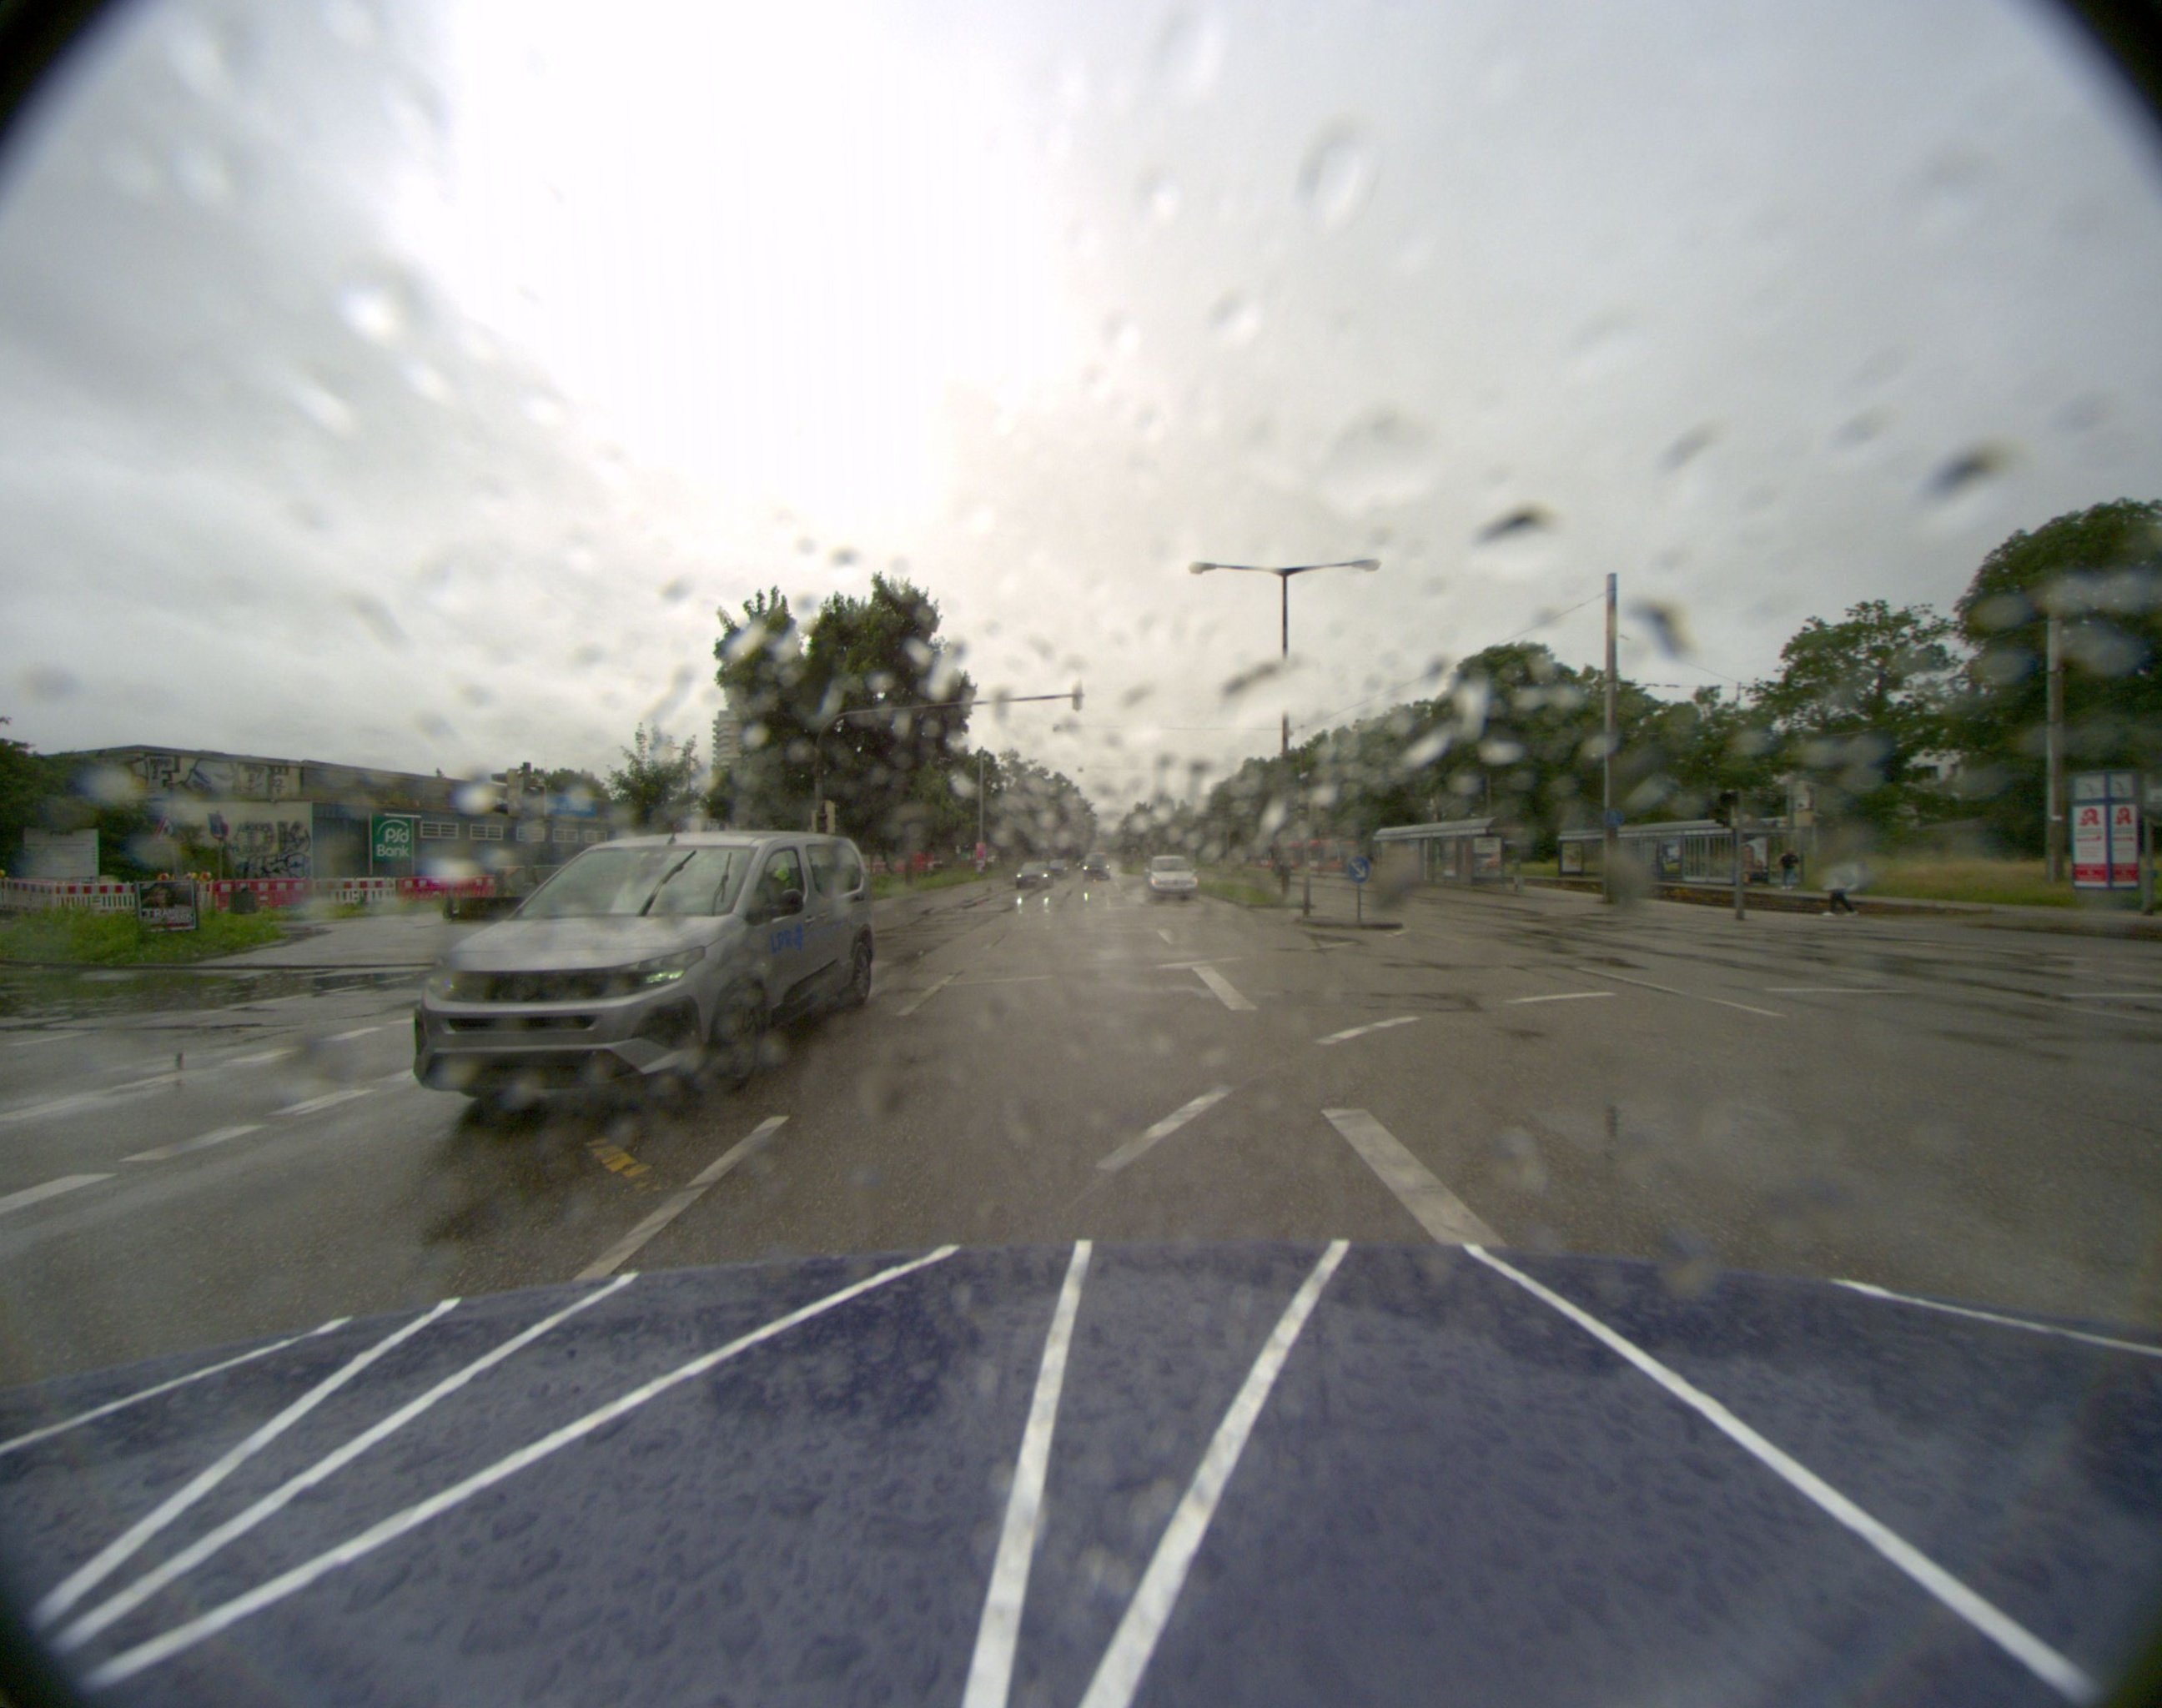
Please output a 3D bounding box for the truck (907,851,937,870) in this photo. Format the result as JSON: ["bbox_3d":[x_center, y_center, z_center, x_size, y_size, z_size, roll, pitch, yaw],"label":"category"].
[{"bbox_3d":[-25.445,0.973,121.937,2.811,2.882,8.749,-2,1,1],"label":"truck"}]

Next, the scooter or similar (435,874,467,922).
[{"bbox_3d":[-15.863,1.099,19.139,0.286,1.169,0.560,0,0,8],"label":"scooter or similar"}]

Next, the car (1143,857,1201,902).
[{"bbox_3d":[3.366,0.922,28.653,1.740,1.535,4.014,-1,-1,1],"label":"car"}]

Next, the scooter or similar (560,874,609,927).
[{"bbox_3d":[-11.928,1.113,18.263,0.959,1.222,0.322,2,1,6],"label":"scooter or similar"}]

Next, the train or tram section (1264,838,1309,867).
[{"bbox_3d":[25.300,-0.207,93.948,3.541,3.392,7.903,0,0,2],"label":"train or tram section"}]

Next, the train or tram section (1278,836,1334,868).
[{"bbox_3d":[25.036,-0.188,85.203,3.541,3.381,10.261,0,0,2],"label":"train or tram section"}]

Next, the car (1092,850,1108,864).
[{"bbox_3d":[2.385,0.395,93.949,1.898,1.602,4.000,-2,1,2],"label":"car"}]

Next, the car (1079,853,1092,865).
[{"bbox_3d":[0.699,0.675,108.392,1.726,1.642,3.999,-2,1,1],"label":"car"}]

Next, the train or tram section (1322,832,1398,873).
[{"bbox_3d":[24.544,-0.128,67.478,3.541,3.370,9.279,0,0,2],"label":"train or tram section"}]

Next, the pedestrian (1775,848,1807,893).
[{"bbox_3d":[28.290,0.649,30.276,0.631,1.782,0.681,-2,1,0],"label":"pedestrian"}]

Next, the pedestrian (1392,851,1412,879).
[{"bbox_3d":[18.340,0.626,43.429,0.806,1.588,0.929,-1,1,4],"label":"pedestrian"}]

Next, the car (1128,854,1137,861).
[{"bbox_3d":[11.067,0.688,162.911,1.684,1.353,4.251,2,0,-1],"label":"car"}]

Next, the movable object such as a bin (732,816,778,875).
[{"bbox_3d":[-25.391,-0.637,59.302,1.557,4.401,3.909,-2,1,3],"label":"movable object such as a bin"}]

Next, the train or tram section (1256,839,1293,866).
[{"bbox_3d":[25.481,-0.214,100.356,3.541,3.398,5.770,0,0,2],"label":"train or tram section"}]

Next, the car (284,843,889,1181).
[{"bbox_3d":[-3.254,0.846,6.402,1.998,1.785,4.562,-2,0,1],"label":"car"}]

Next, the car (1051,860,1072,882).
[{"bbox_3d":[-1.590,1.390,62.473,1.651,1.652,3.776,-2,1,-1],"label":"car"}]

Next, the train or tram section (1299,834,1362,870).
[{"bbox_3d":[24.770,-0.157,76.053,3.541,3.370,9.279,0,0,2],"label":"train or tram section"}]

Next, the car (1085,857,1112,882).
[{"bbox_3d":[1.303,1.102,56.071,1.812,1.683,3.777,-2,1,1],"label":"car"}]

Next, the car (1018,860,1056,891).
[{"bbox_3d":[-2.445,1.180,43.195,1.858,1.583,3.999,-2,1,0],"label":"car"}]

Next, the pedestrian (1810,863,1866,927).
[{"bbox_3d":[20.250,1.078,20.345,0.802,1.648,0.784,-2,1,23],"label":"pedestrian"}]
